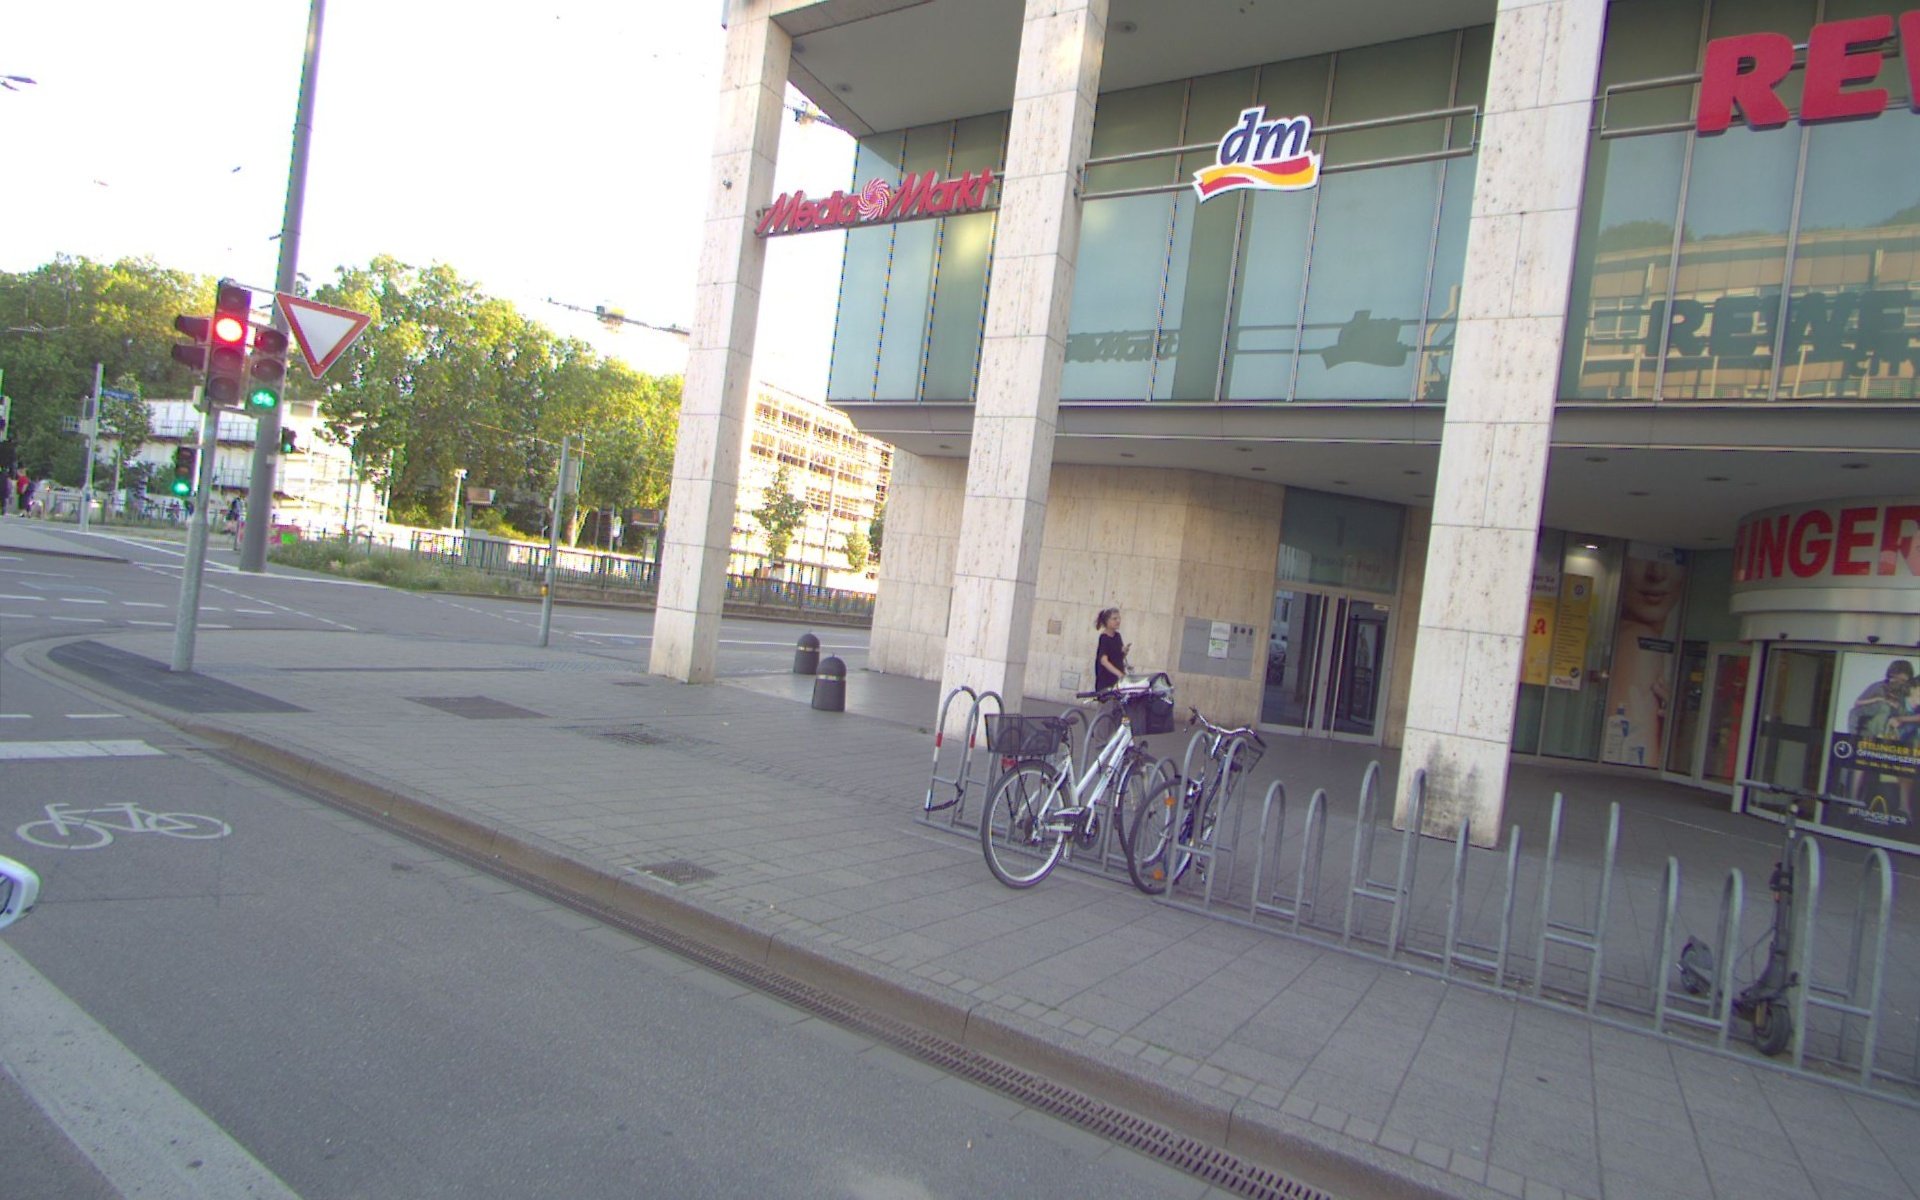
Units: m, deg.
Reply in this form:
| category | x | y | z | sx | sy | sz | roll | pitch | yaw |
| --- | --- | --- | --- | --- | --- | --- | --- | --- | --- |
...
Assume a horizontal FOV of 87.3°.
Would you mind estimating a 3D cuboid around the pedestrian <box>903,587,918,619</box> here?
| category | x | y | z | sx | sy | sz | roll | pitch | yaw |
| --- | --- | --- | --- | --- | --- | --- | --- | --- | --- |
| pedestrian | -3.251 | 0.185 | 66.017 | 0.559 | 2.039 | 0.575 | 8 | 1 | 29 |

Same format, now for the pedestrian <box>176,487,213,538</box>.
| category | x | y | z | sx | sy | sz | roll | pitch | yaw |
| --- | --- | --- | --- | --- | --- | --- | --- | --- | --- |
| pedestrian | -28.537 | -3.238 | 37.491 | 0.700 | 1.746 | 0.667 | 7 | 1 | -5 |

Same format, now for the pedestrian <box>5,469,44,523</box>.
| category | x | y | z | sx | sy | sz | roll | pitch | yaw |
| --- | --- | --- | --- | --- | --- | --- | --- | --- | --- |
| pedestrian | -33.099 | -3.684 | 35.590 | 0.696 | 1.756 | 0.843 | 8 | 1 | 44 |

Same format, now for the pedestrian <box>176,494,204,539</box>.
| category | x | y | z | sx | sy | sz | roll | pitch | yaw |
| --- | --- | --- | --- | --- | --- | --- | --- | --- | --- |
| pedestrian | -29.456 | -3.179 | 38.494 | 0.527 | 1.612 | 0.571 | 8 | 1 | 32 |

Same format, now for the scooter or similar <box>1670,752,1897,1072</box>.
| category | x | y | z | sx | sy | sz | roll | pitch | yaw |
| --- | --- | --- | --- | --- | --- | --- | --- | --- | --- |
| scooter or similar | 3.985 | 1.436 | 4.957 | 0.484 | 1.214 | 1.196 | 8 | 1 | 27 |

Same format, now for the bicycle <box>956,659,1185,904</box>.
| category | x | y | z | sx | sy | sz | roll | pitch | yaw |
| --- | --- | --- | --- | --- | --- | --- | --- | --- | --- |
| bicycle | 0.698 | 1.004 | 5.926 | 0.540 | 1.198 | 1.479 | 8 | 1 | 36 |

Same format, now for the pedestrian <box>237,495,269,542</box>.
| category | x | y | z | sx | sy | sz | roll | pitch | yaw |
| --- | --- | --- | --- | --- | --- | --- | --- | --- | --- |
| pedestrian | -28.654 | -3.307 | 40.796 | 0.657 | 1.746 | 0.712 | 8 | 1 | 30 |

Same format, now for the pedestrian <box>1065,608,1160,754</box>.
| category | x | y | z | sx | sy | sz | roll | pitch | yaw |
| --- | --- | --- | --- | --- | --- | --- | --- | --- | --- |
| pedestrian | 1.887 | 0.988 | 12.398 | 0.696 | 1.659 | 0.791 | 8 | 1 | 34 |

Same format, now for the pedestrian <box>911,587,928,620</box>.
| category | x | y | z | sx | sy | sz | roll | pitch | yaw |
| --- | --- | --- | --- | --- | --- | --- | --- | --- | --- |
| pedestrian | -2.660 | 0.228 | 65.711 | 0.631 | 2.039 | 0.626 | 8 | 1 | 28 |

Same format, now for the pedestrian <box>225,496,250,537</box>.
| category | x | y | z | sx | sy | sz | roll | pitch | yaw |
| --- | --- | --- | --- | --- | --- | --- | --- | --- | --- |
| pedestrian | -28.191 | -3.256 | 39.242 | 0.672 | 1.459 | 0.707 | 7 | 1 | -36 |

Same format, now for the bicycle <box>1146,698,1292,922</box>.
| category | x | y | z | sx | sy | sz | roll | pitch | yaw |
| --- | --- | --- | --- | --- | --- | --- | --- | --- | --- |
| bicycle | 1.679 | 1.221 | 6.331 | 0.474 | 1.092 | 1.773 | 8 | 0 | 24 |

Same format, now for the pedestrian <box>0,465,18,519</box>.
| category | x | y | z | sx | sy | sz | roll | pitch | yaw |
| --- | --- | --- | --- | --- | --- | --- | --- | --- | --- |
| pedestrian | -33.626 | -3.826 | 35.218 | 0.803 | 1.814 | 0.790 | 7 | 1 | -44 |

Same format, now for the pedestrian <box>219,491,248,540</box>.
| category | x | y | z | sx | sy | sz | roll | pitch | yaw |
| --- | --- | --- | --- | --- | --- | --- | --- | --- | --- |
| pedestrian | -27.787 | -3.242 | 38.466 | 0.708 | 1.746 | 0.660 | 7 | 1 | -41 |
